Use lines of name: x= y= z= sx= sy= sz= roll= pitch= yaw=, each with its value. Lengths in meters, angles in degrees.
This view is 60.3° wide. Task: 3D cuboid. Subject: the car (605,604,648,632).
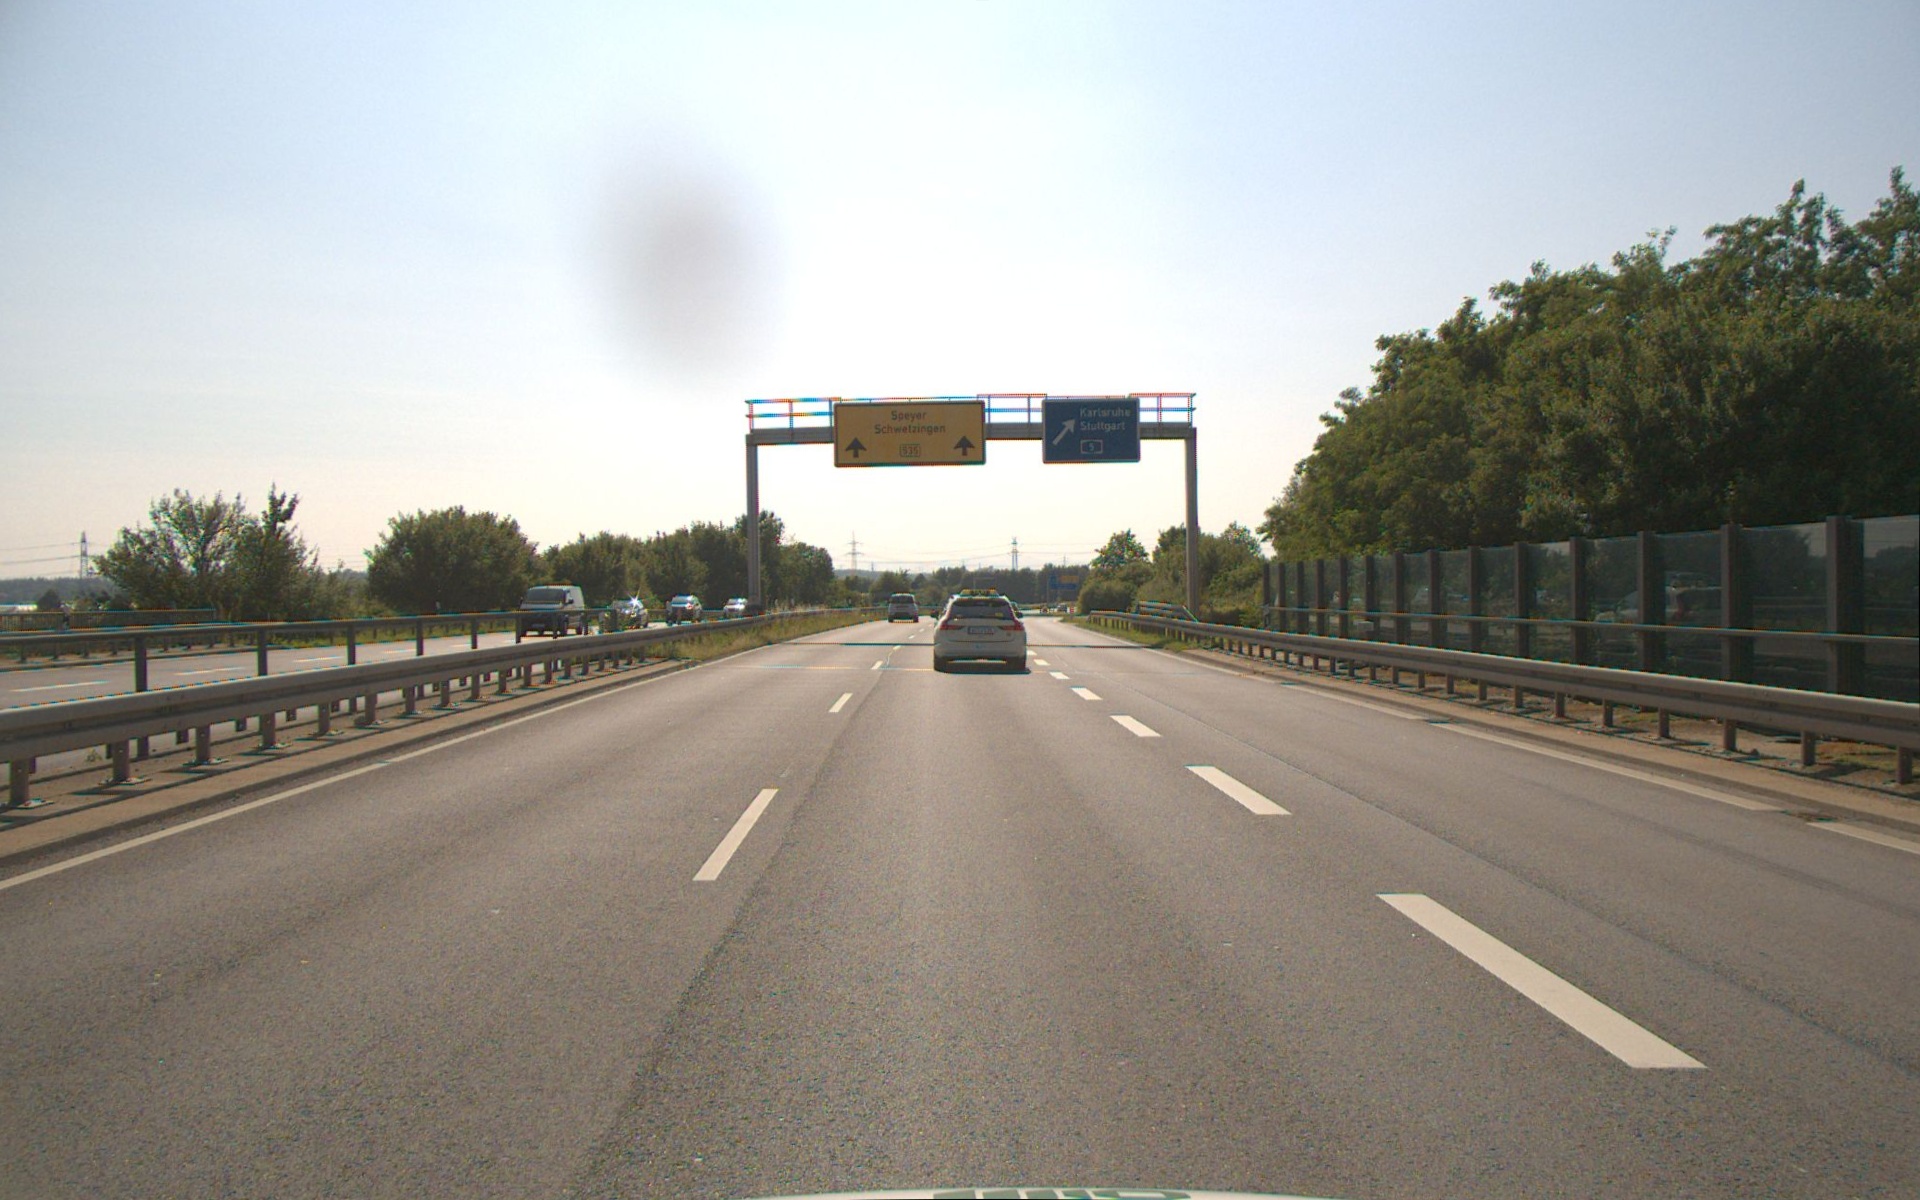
car: x=-16.447 y=0.851 z=81.675 sx=1.534 sy=1.292 sz=3.714 roll=0 pitch=1 yaw=-2

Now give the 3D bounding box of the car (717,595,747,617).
car: x=-17.609 y=0.476 z=127.867 sx=1.864 sy=1.648 sz=4.626 roll=1 pitch=0 yaw=-3

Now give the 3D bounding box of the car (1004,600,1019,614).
car: x=6.624 y=0.870 z=213.487 sx=1.803 sy=1.728 sz=4.000 roll=0 pitch=0 yaw=0

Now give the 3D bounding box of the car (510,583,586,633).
car: x=-16.627 y=0.281 z=66.935 sx=1.953 sy=1.939 sz=4.417 roll=0 pitch=0 yaw=0

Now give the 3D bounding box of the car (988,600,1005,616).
car: x=4.103 y=0.884 z=187.001 sx=1.804 sy=1.834 sz=3.999 roll=0 pitch=0 yaw=-1

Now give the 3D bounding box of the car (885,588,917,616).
car: x=-3.277 y=0.116 z=92.609 sx=1.757 sy=1.529 sz=4.041 roll=0 pitch=0 yaw=-2

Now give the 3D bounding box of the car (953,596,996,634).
car: x=0.599 y=0.642 z=72.135 sx=1.757 sy=1.570 sz=3.670 roll=0 pitch=0 yaw=-1

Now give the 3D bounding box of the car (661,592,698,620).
car: x=-17.096 y=0.320 z=101.065 sx=1.698 sy=1.645 sz=4.001 roll=0 pitch=1 yaw=-2

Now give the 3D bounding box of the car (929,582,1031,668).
car: x=0.343 y=0.459 z=33.697 sx=1.918 sy=1.629 sz=4.106 roll=1 pitch=1 yaw=-1
